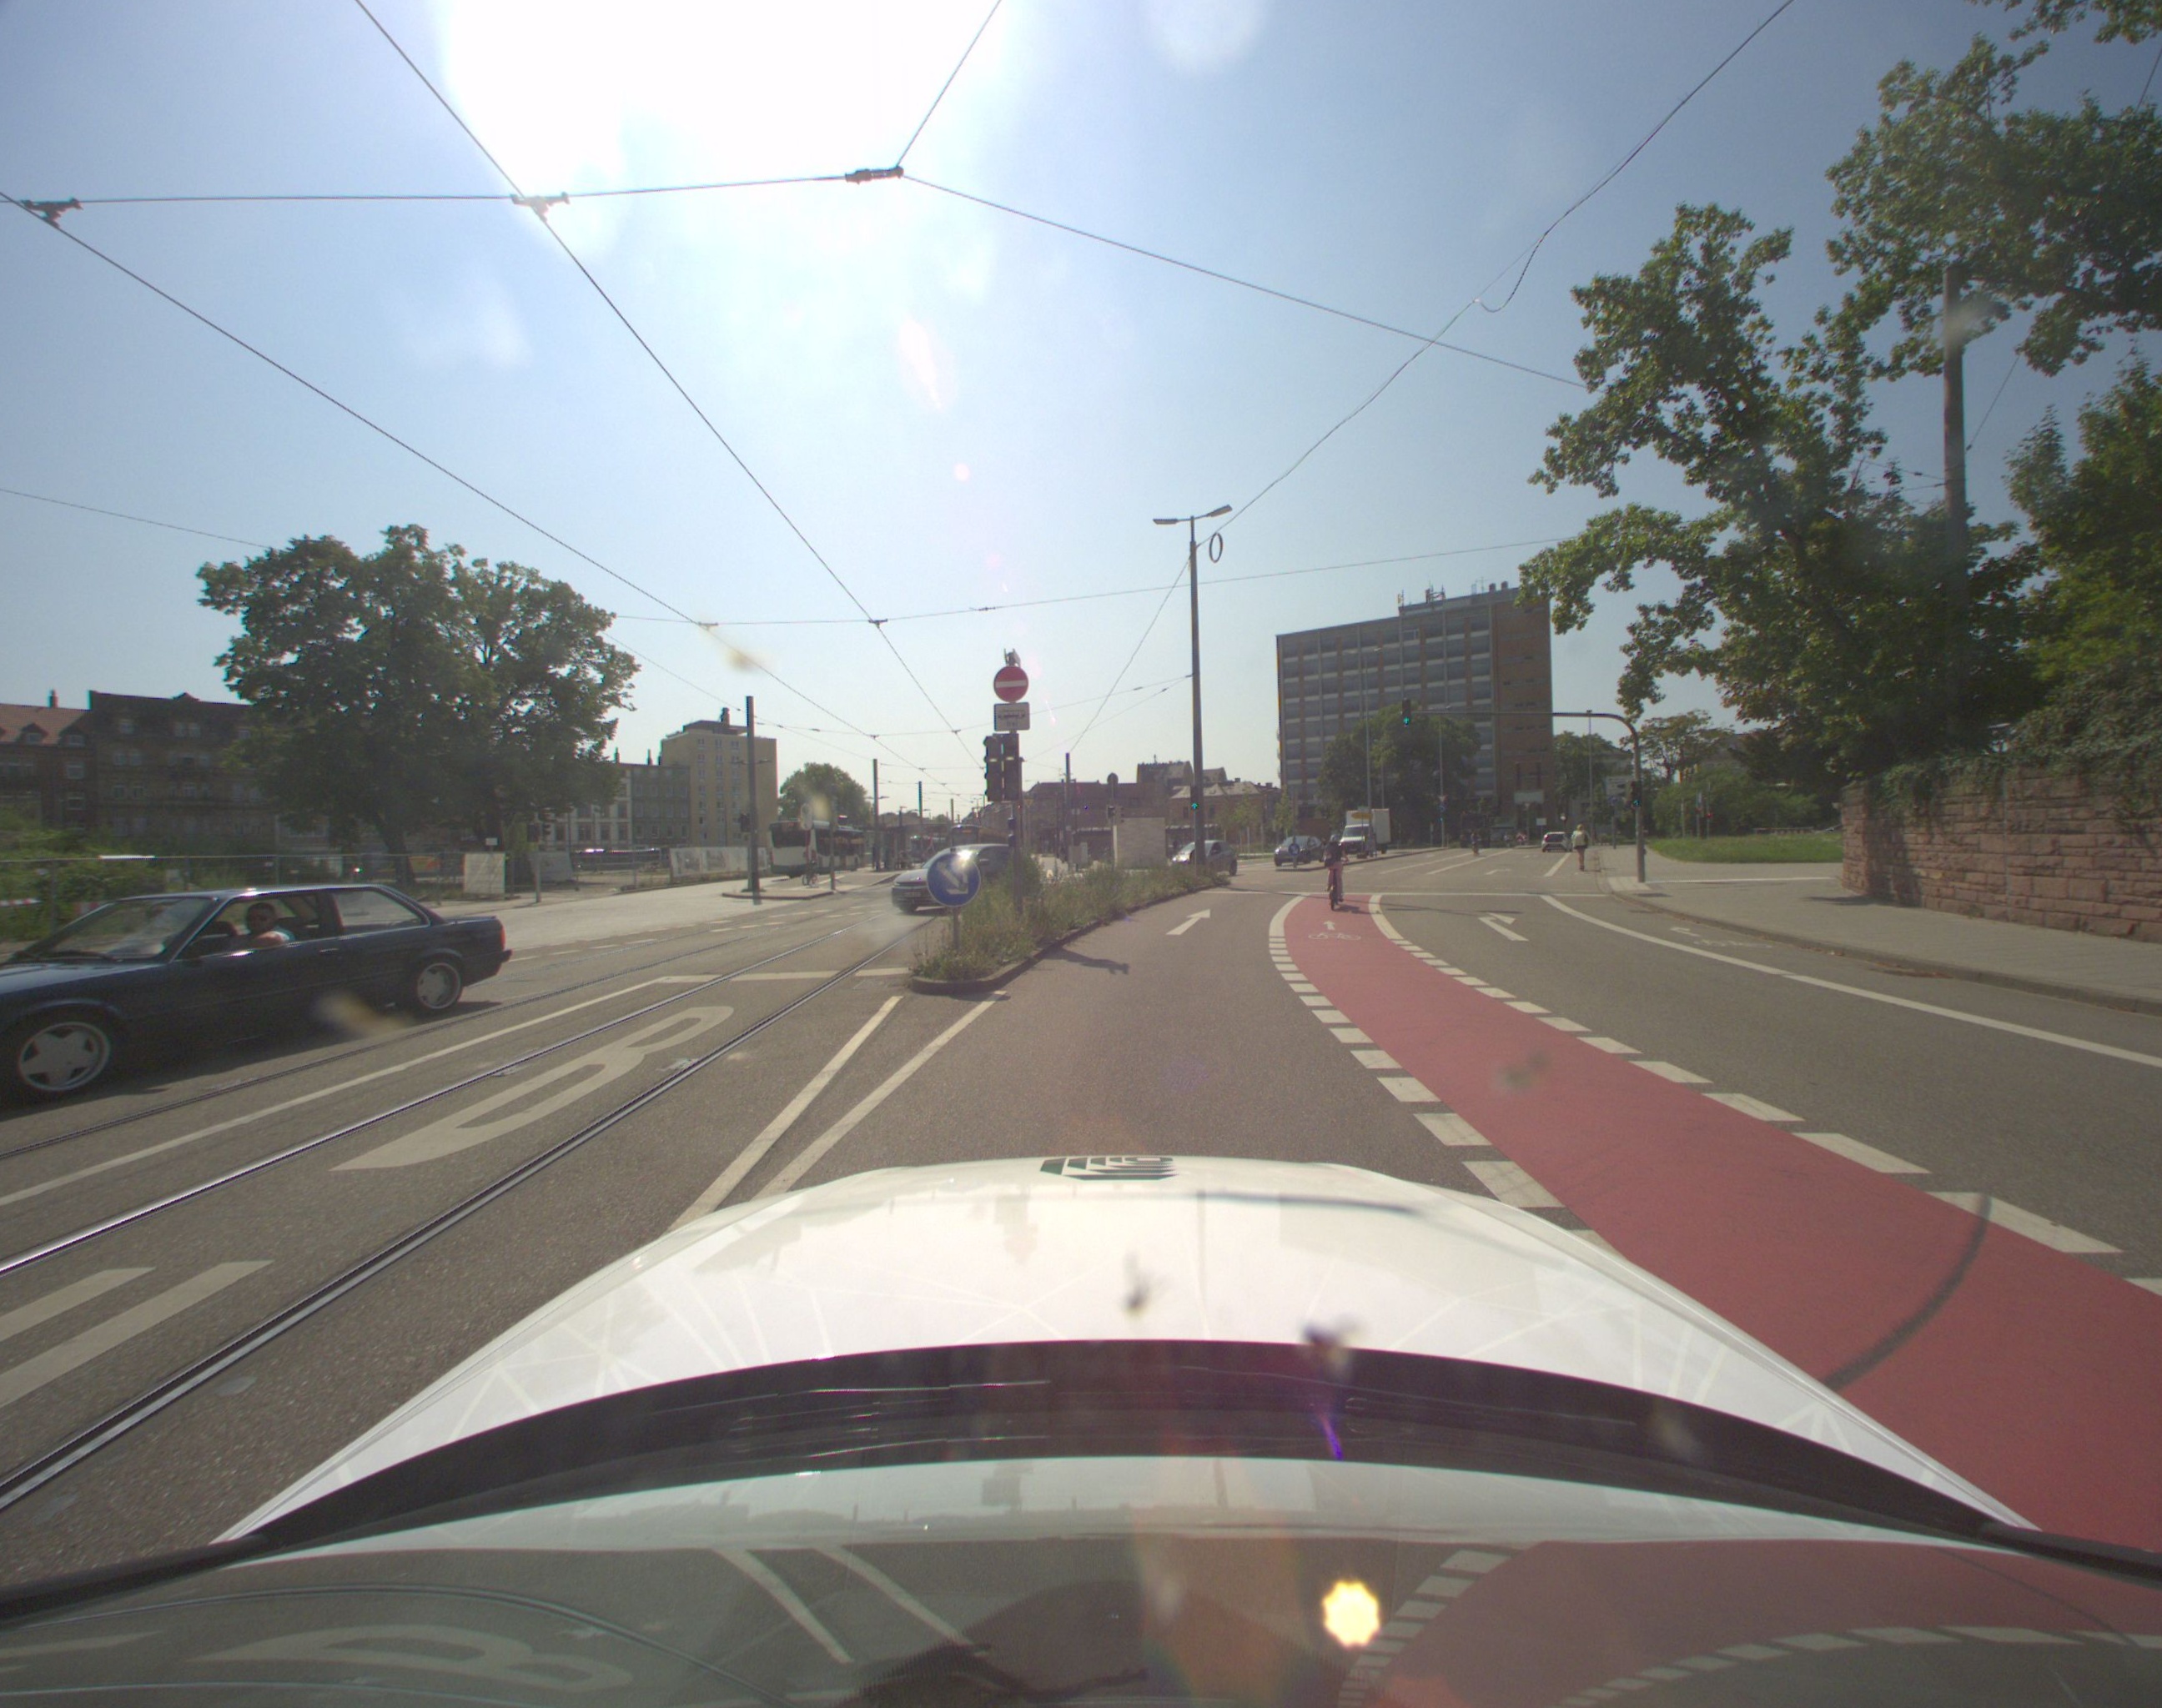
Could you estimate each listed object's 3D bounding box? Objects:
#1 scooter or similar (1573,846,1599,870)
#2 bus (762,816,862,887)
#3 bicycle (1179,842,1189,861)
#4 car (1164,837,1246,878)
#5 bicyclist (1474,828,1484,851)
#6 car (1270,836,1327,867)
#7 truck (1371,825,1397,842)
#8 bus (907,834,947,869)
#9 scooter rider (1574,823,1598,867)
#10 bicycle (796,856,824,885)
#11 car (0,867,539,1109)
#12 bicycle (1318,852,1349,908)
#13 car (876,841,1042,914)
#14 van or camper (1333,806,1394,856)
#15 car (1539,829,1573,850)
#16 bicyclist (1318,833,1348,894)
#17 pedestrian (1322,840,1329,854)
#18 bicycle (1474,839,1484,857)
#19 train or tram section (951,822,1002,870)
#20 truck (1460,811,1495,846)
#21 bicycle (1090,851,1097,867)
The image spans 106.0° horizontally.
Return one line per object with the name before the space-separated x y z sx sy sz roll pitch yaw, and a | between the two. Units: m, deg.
scooter or similar | 20.666 0.151 33.314 0.764 0.926 1.631 -1 1 37
bus | -15.973 -0.151 49.379 2.951 3.774 10.586 -1 0 -3
bicycle | 6.984 -0.169 55.085 0.600 1.210 1.815 -2 0 9
car | 5.250 0.113 34.036 1.634 1.530 4.353 -2 0 34
bicyclist | 25.181 -0.918 51.545 0.445 1.421 0.499 -2 0 31
car | 11.702 -0.145 43.581 1.680 1.530 4.210 -2 0 33
truck | 28.585 -1.941 76.762 1.540 1.504 3.644 -2 0 31
bus | -17.824 -0.289 94.959 2.701 3.727 10.415 -1 0 -1
scooter rider | 20.743 -0.380 33.461 0.754 1.775 0.559 -2 0 37
bicycle | -12.043 0.737 36.203 0.605 1.222 1.706 -2 0 2
car | -7.257 0.888 6.923 1.678 1.378 4.629 -2 0 9
bicycle | 5.683 0.564 18.383 0.599 1.163 1.818 -2 0 16
car | -2.961 0.520 20.889 1.755 1.610 4.702 -2 0 27
van or camper | 20.274 -1.626 58.199 2.376 3.306 7.236 -2 0 33
car | 34.648 -1.078 59.357 1.824 1.391 4.026 -2 0 35
bicyclist | 5.671 0.217 18.347 0.598 1.335 0.662 -2 0 16
pedestrian | 27.814 -0.796 92.739 0.530 1.552 0.415 -2 0 -13
bicycle | 25.163 -0.388 51.474 0.440 1.116 1.455 -2 0 31
train or tram section | -8.712 -0.672 70.163 2.849 3.548 17.726 -1 0 -2
truck | 35.964 -2.279 73.758 2.671 2.989 6.002 -1 0 27
bicycle | 0.854 0.352 55.019 0.463 1.032 1.548 -1 0 0
